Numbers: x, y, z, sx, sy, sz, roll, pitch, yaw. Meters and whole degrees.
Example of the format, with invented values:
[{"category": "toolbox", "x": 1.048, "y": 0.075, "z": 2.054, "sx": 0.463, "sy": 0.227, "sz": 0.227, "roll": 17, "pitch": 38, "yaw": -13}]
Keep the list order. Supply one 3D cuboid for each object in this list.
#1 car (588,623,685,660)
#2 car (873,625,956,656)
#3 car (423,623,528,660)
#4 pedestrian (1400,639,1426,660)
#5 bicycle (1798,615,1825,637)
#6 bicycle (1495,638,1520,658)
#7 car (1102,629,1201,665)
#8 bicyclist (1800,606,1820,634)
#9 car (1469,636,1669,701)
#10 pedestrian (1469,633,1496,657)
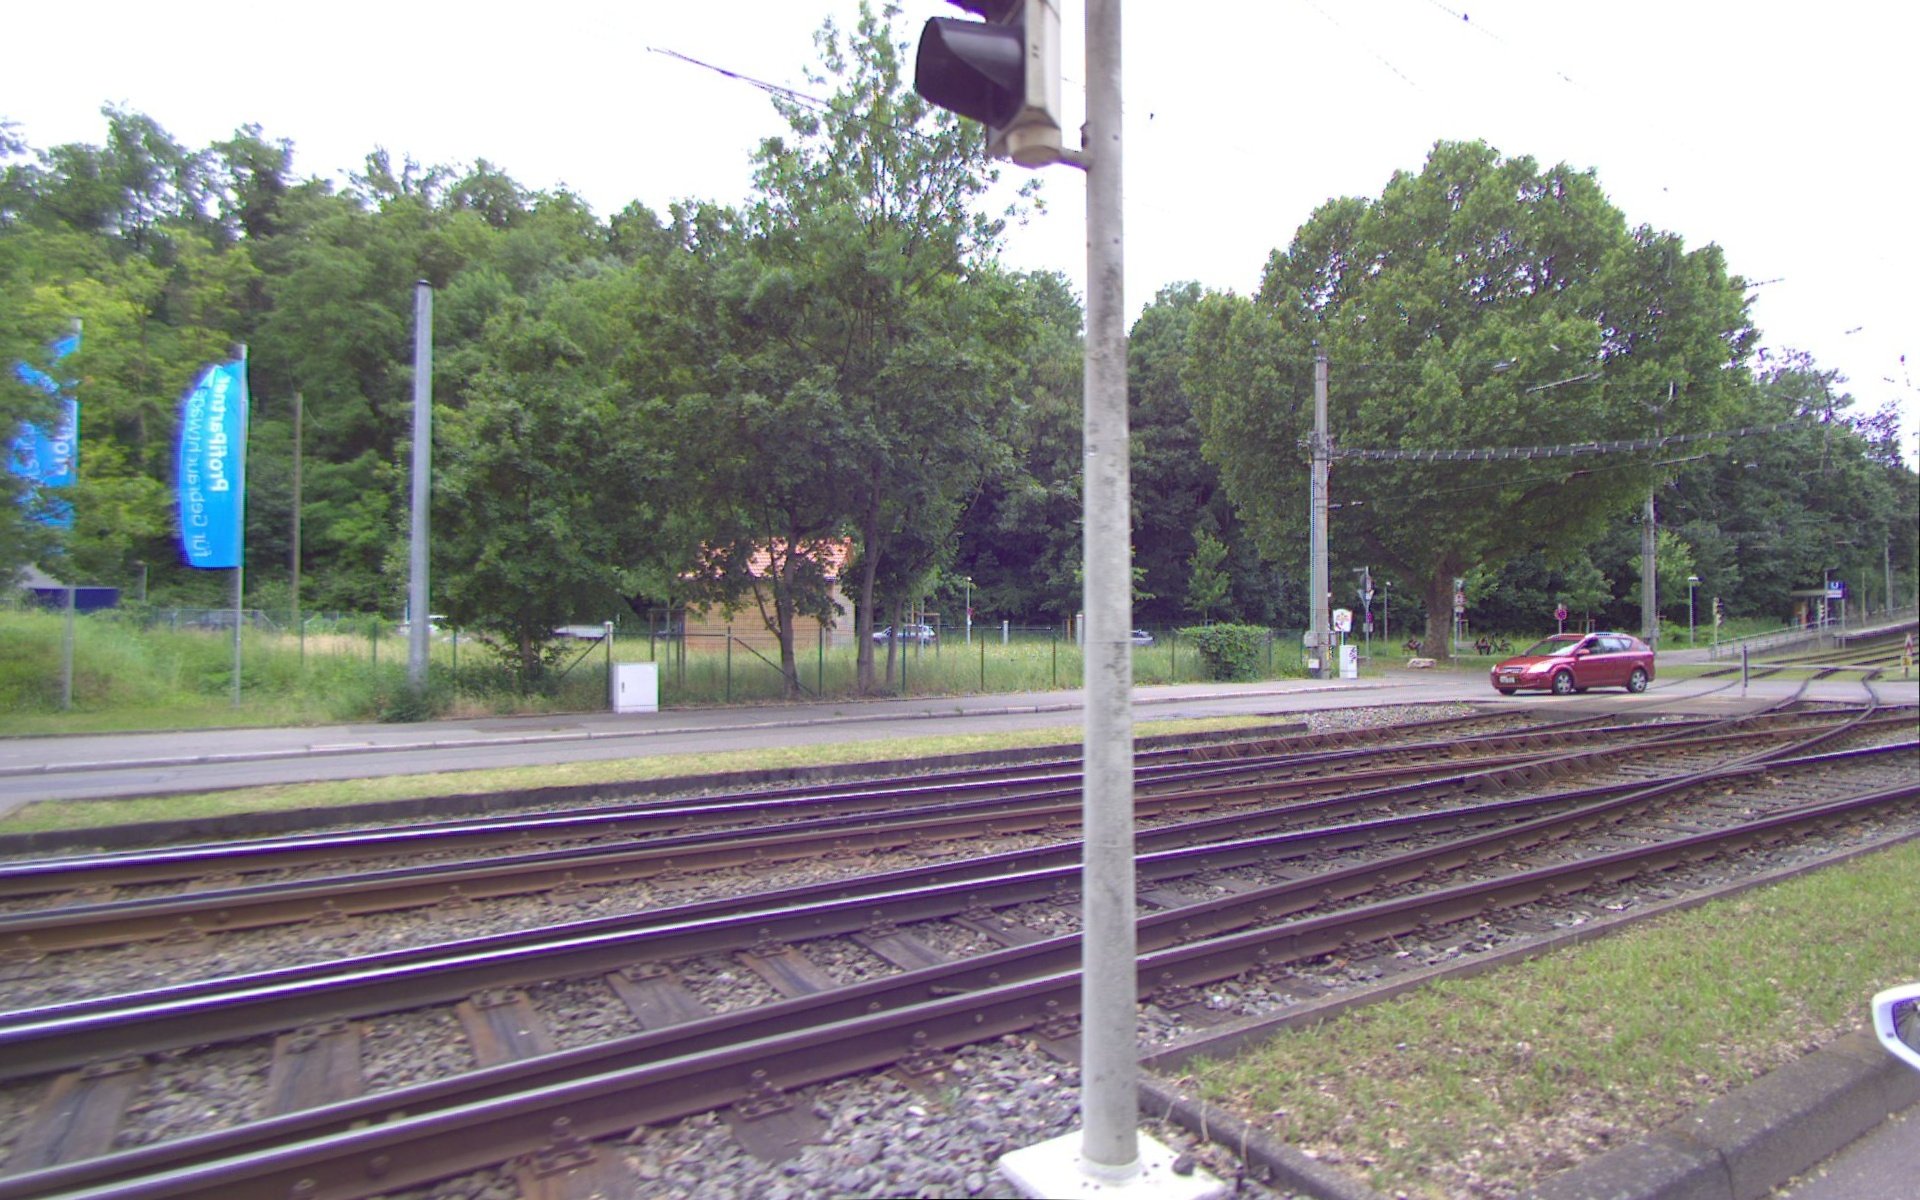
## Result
[{"category": "car", "x": -15.188, "y": 1.939, "z": 47.348, "sx": 3.921, "sy": 1.684, "sz": 2.000, "roll": 0, "pitch": -2, "yaw": 0}, {"category": "car", "x": -2.480, "y": 2.172, "z": 53.774, "sx": 4.320, "sy": 1.603, "sz": 1.998, "roll": 0, "pitch": -1, "yaw": -6}, {"category": "car", "x": -22.521, "y": 1.906, "z": 46.808, "sx": 3.921, "sy": 1.684, "sz": 2.000, "roll": 0, "pitch": -2, "yaw": 0}, {"category": "pedestrian", "x": 25.387, "y": 2.752, "z": 56.343, "sx": 1.059, "sy": 1.110, "sz": 0.906, "roll": 2, "pitch": 0, "yaw": 6}, {"category": "bicycle", "x": 58.367, "y": 1.769, "z": 68.814, "sx": 2.970, "sy": 1.361, "sz": 0.817, "roll": -2, "pitch": 0, "yaw": -39}, {"category": "bicycle", "x": 30.860, "y": 2.707, "z": 56.637, "sx": 0.662, "sy": 1.025, "sz": 1.654, "roll": 2, "pitch": 0, "yaw": 8}, {"category": "car", "x": 10.525, "y": 2.564, "z": 55.472, "sx": 4.984, "sy": 1.913, "sz": 2.355, "roll": 0, "pitch": -2, "yaw": -2}, {"category": "bicyclist", "x": 58.035, "y": 1.391, "z": 68.553, "sx": 1.042, "sy": 1.874, "sz": 0.815, "roll": -2, "pitch": 0, "yaw": -38}, {"category": "car", "x": 15.668, "y": 1.714, "z": 25.909, "sx": 4.428, "sy": 1.535, "sz": 1.993, "roll": 1, "pitch": -1, "yaw": -17}, {"category": "pedestrian", "x": 29.620, "y": 2.546, "z": 56.978, "sx": 1.035, "sy": 1.285, "sz": 1.117, "roll": 2, "pitch": 0, "yaw": 8}]
